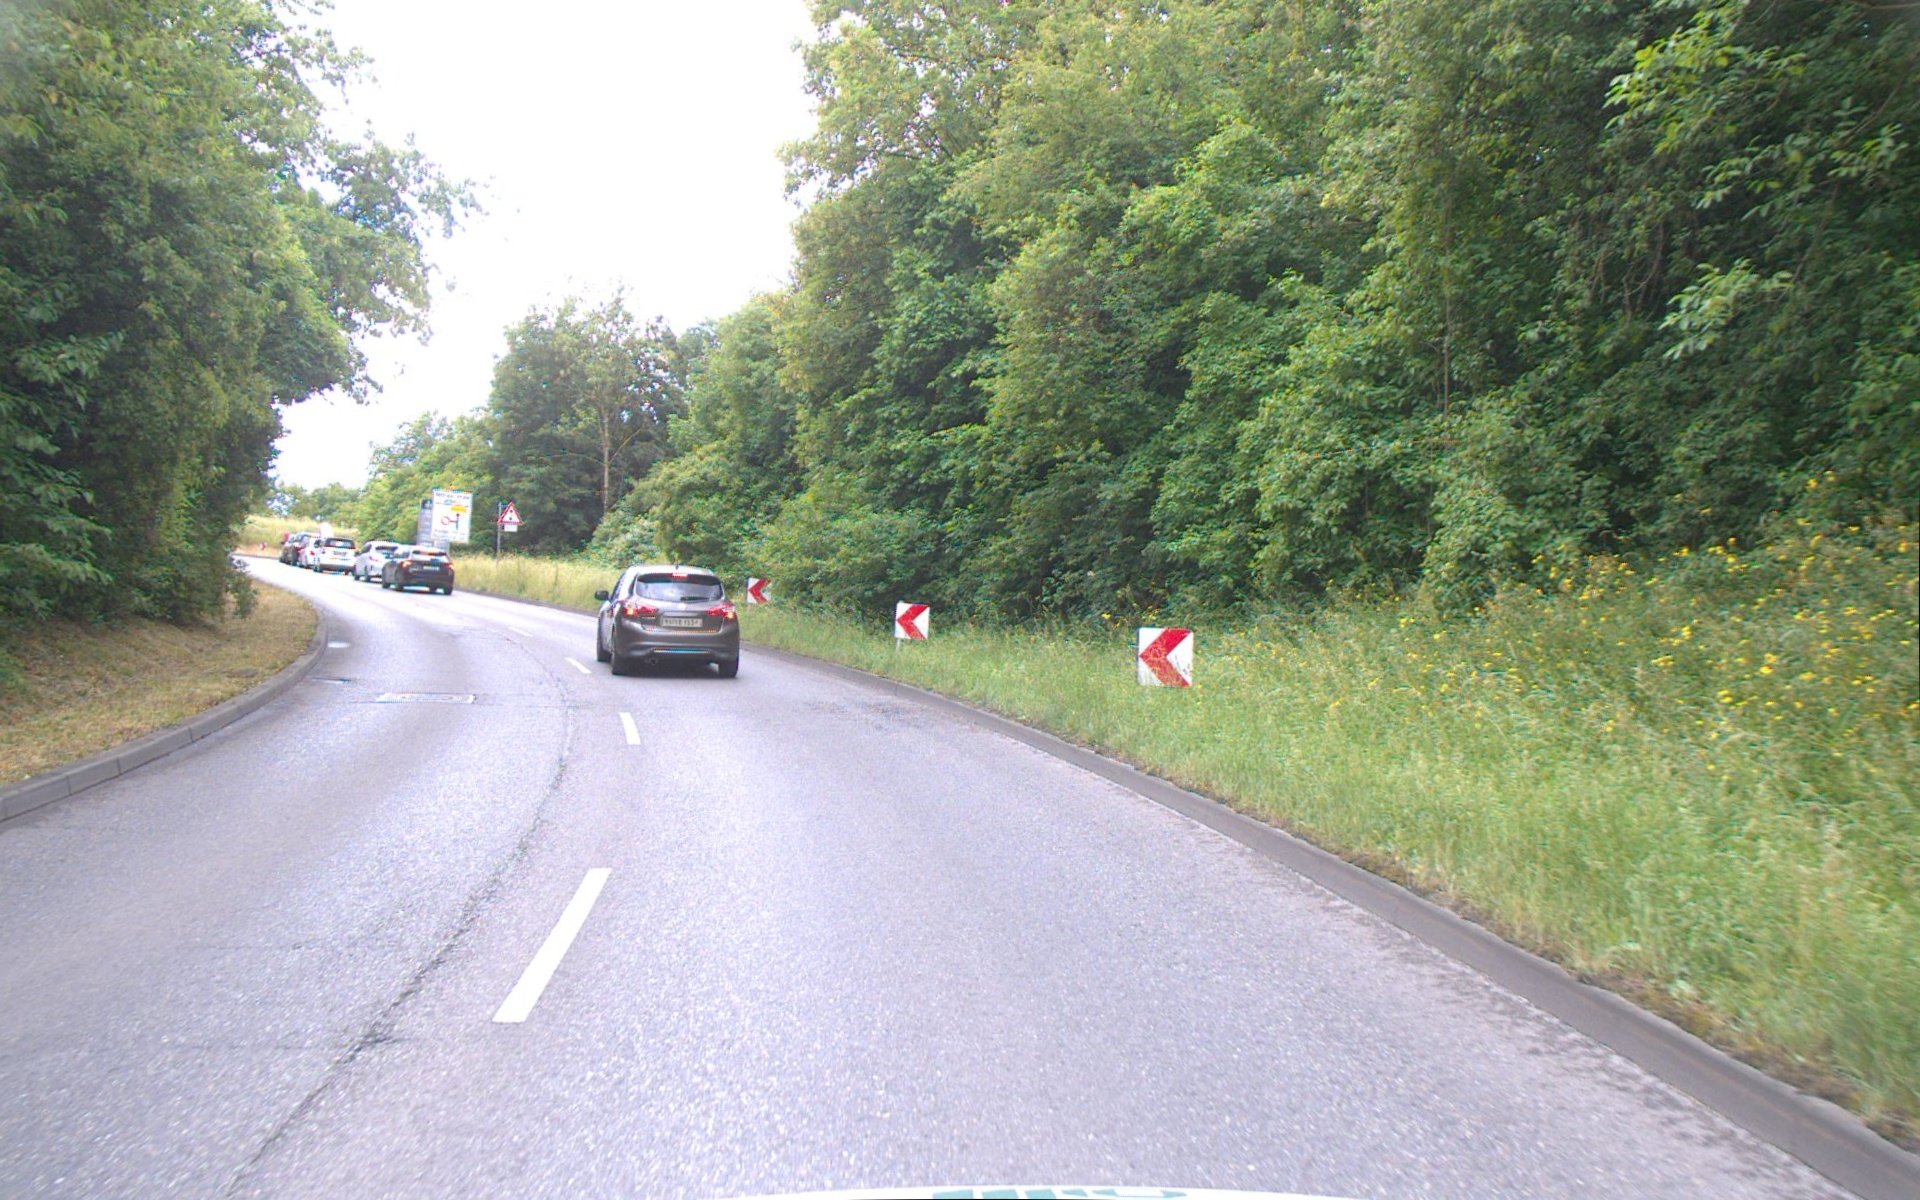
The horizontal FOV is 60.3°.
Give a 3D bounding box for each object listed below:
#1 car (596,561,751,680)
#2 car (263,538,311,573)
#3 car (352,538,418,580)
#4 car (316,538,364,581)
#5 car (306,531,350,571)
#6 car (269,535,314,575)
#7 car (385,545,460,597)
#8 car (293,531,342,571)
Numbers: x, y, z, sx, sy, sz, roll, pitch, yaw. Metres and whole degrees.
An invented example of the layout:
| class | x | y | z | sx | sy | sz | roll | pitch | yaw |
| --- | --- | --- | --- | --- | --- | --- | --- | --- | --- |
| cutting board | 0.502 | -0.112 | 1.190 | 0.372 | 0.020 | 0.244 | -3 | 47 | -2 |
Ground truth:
| class | x | y | z | sx | sy | sz | roll | pitch | yaw |
| --- | --- | --- | --- | --- | --- | --- | --- | --- | --- |
| car | -4.275 | 0.227 | 24.228 | 1.810 | 1.509 | 3.983 | 0 | 2 | -16 |
| car | -38.440 | -2.495 | 94.428 | 1.973 | 1.814 | 3.959 | 4 | -1 | -30 |
| car | -21.397 | -1.552 | 61.462 | 1.818 | 1.411 | 3.966 | 1 | 2 | -27 |
| car | -26.515 | -1.711 | 70.650 | 1.747 | 1.662 | 3.864 | 2 | -1 | -23 |
| car | -29.654 | -2.255 | 77.545 | 1.747 | 1.662 | 3.864 | 2 | -1 | -23 |
| car | -35.940 | -2.385 | 88.896 | 1.969 | 1.814 | 3.966 | 2 | -3 | -26 |
| car | -17.411 | -0.950 | 53.480 | 1.816 | 1.410 | 3.970 | 2 | 3 | -25 |
| car | -31.850 | -2.382 | 81.896 | 1.969 | 1.814 | 3.967 | -1 | -1 | -26 |
